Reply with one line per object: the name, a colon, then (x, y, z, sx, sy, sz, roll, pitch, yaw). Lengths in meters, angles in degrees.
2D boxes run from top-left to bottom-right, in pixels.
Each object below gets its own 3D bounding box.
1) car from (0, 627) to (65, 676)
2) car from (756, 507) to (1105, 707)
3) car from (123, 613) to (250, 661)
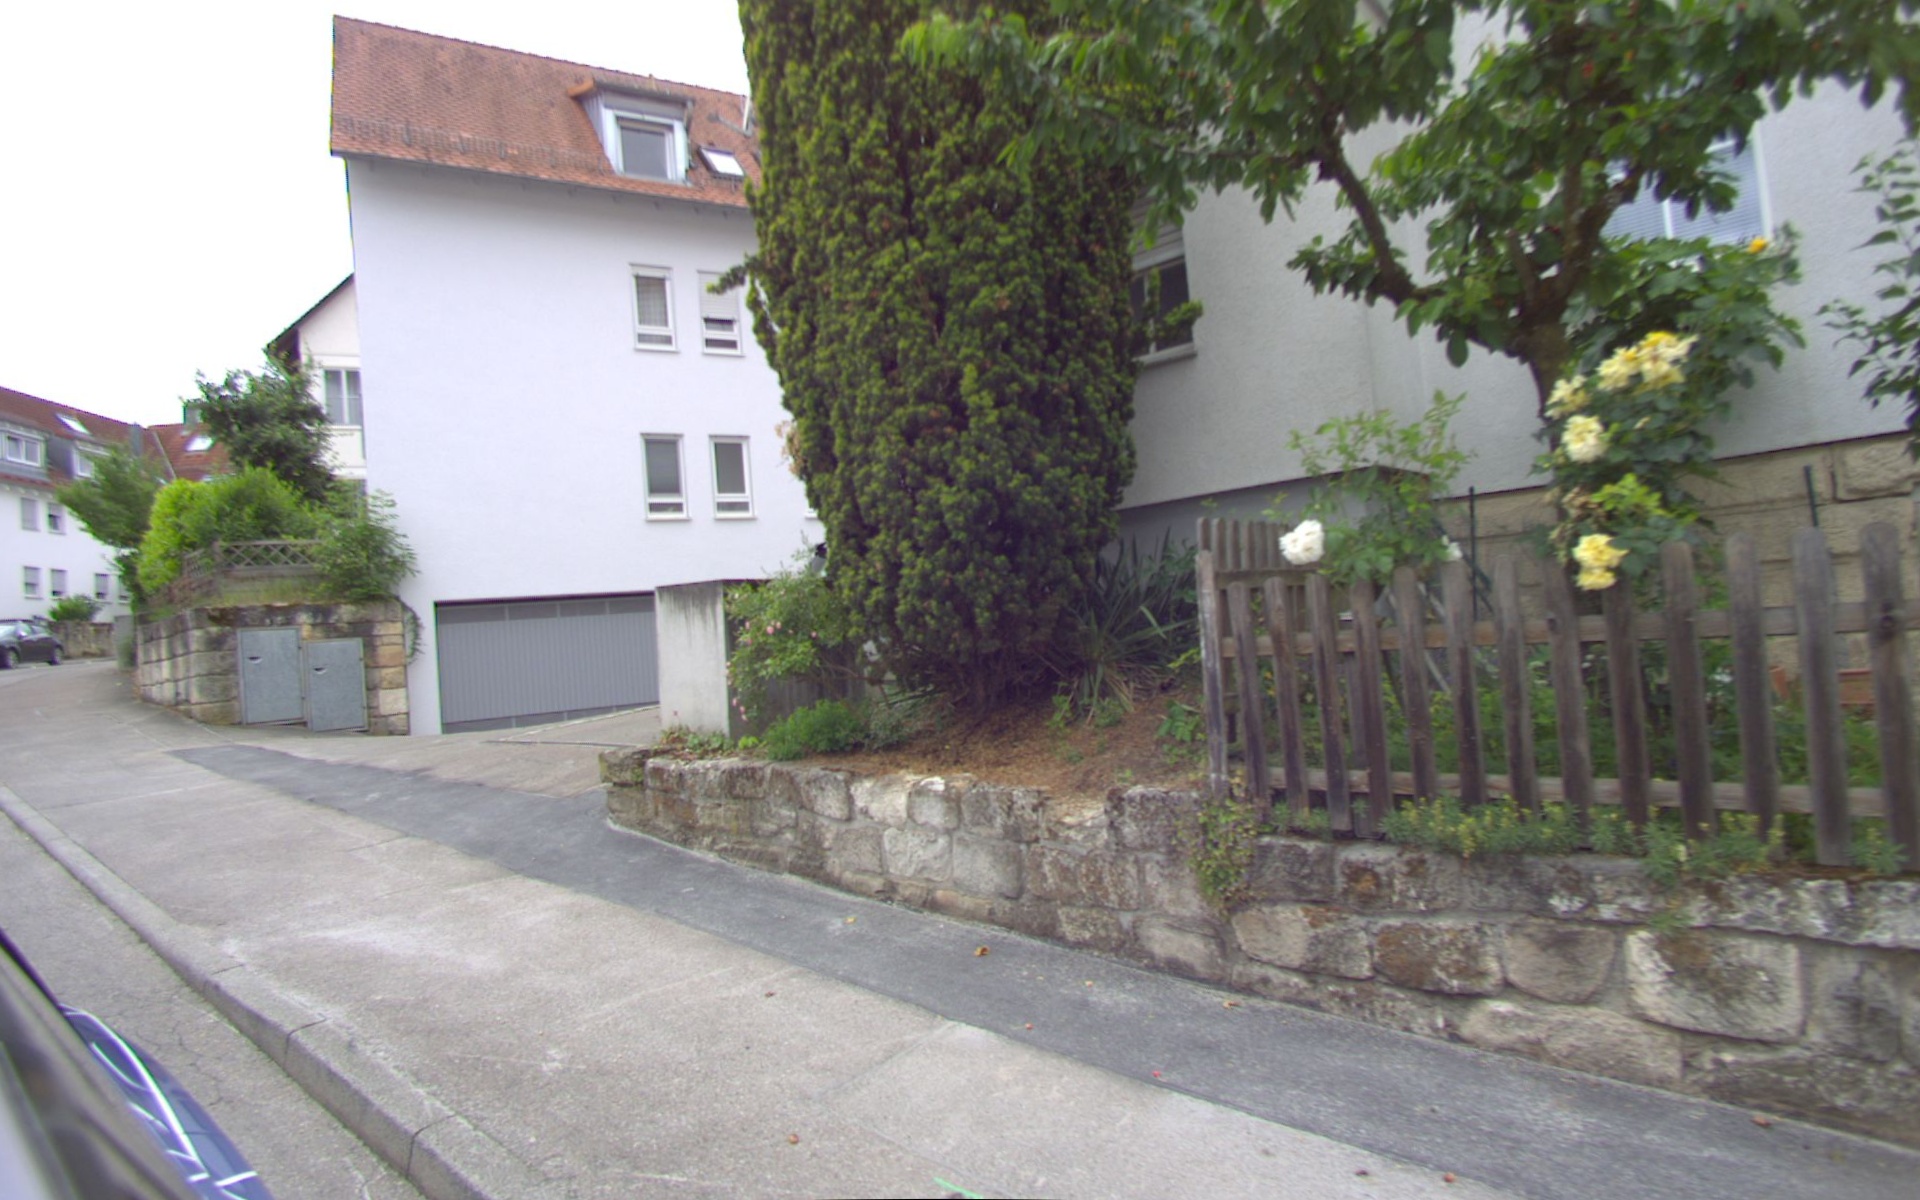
car: (-29.270, 1.607, 30.658, 1.695, 1.417, 4.015, -5, 0, -19)
car: (-0.188, 0.005, 10.656, 1.625, 1.479, 3.367, -8, 3, 42)
car: (-31.373, 1.491, 41.226, 1.923, 1.651, 4.465, -6, -1, -5)
